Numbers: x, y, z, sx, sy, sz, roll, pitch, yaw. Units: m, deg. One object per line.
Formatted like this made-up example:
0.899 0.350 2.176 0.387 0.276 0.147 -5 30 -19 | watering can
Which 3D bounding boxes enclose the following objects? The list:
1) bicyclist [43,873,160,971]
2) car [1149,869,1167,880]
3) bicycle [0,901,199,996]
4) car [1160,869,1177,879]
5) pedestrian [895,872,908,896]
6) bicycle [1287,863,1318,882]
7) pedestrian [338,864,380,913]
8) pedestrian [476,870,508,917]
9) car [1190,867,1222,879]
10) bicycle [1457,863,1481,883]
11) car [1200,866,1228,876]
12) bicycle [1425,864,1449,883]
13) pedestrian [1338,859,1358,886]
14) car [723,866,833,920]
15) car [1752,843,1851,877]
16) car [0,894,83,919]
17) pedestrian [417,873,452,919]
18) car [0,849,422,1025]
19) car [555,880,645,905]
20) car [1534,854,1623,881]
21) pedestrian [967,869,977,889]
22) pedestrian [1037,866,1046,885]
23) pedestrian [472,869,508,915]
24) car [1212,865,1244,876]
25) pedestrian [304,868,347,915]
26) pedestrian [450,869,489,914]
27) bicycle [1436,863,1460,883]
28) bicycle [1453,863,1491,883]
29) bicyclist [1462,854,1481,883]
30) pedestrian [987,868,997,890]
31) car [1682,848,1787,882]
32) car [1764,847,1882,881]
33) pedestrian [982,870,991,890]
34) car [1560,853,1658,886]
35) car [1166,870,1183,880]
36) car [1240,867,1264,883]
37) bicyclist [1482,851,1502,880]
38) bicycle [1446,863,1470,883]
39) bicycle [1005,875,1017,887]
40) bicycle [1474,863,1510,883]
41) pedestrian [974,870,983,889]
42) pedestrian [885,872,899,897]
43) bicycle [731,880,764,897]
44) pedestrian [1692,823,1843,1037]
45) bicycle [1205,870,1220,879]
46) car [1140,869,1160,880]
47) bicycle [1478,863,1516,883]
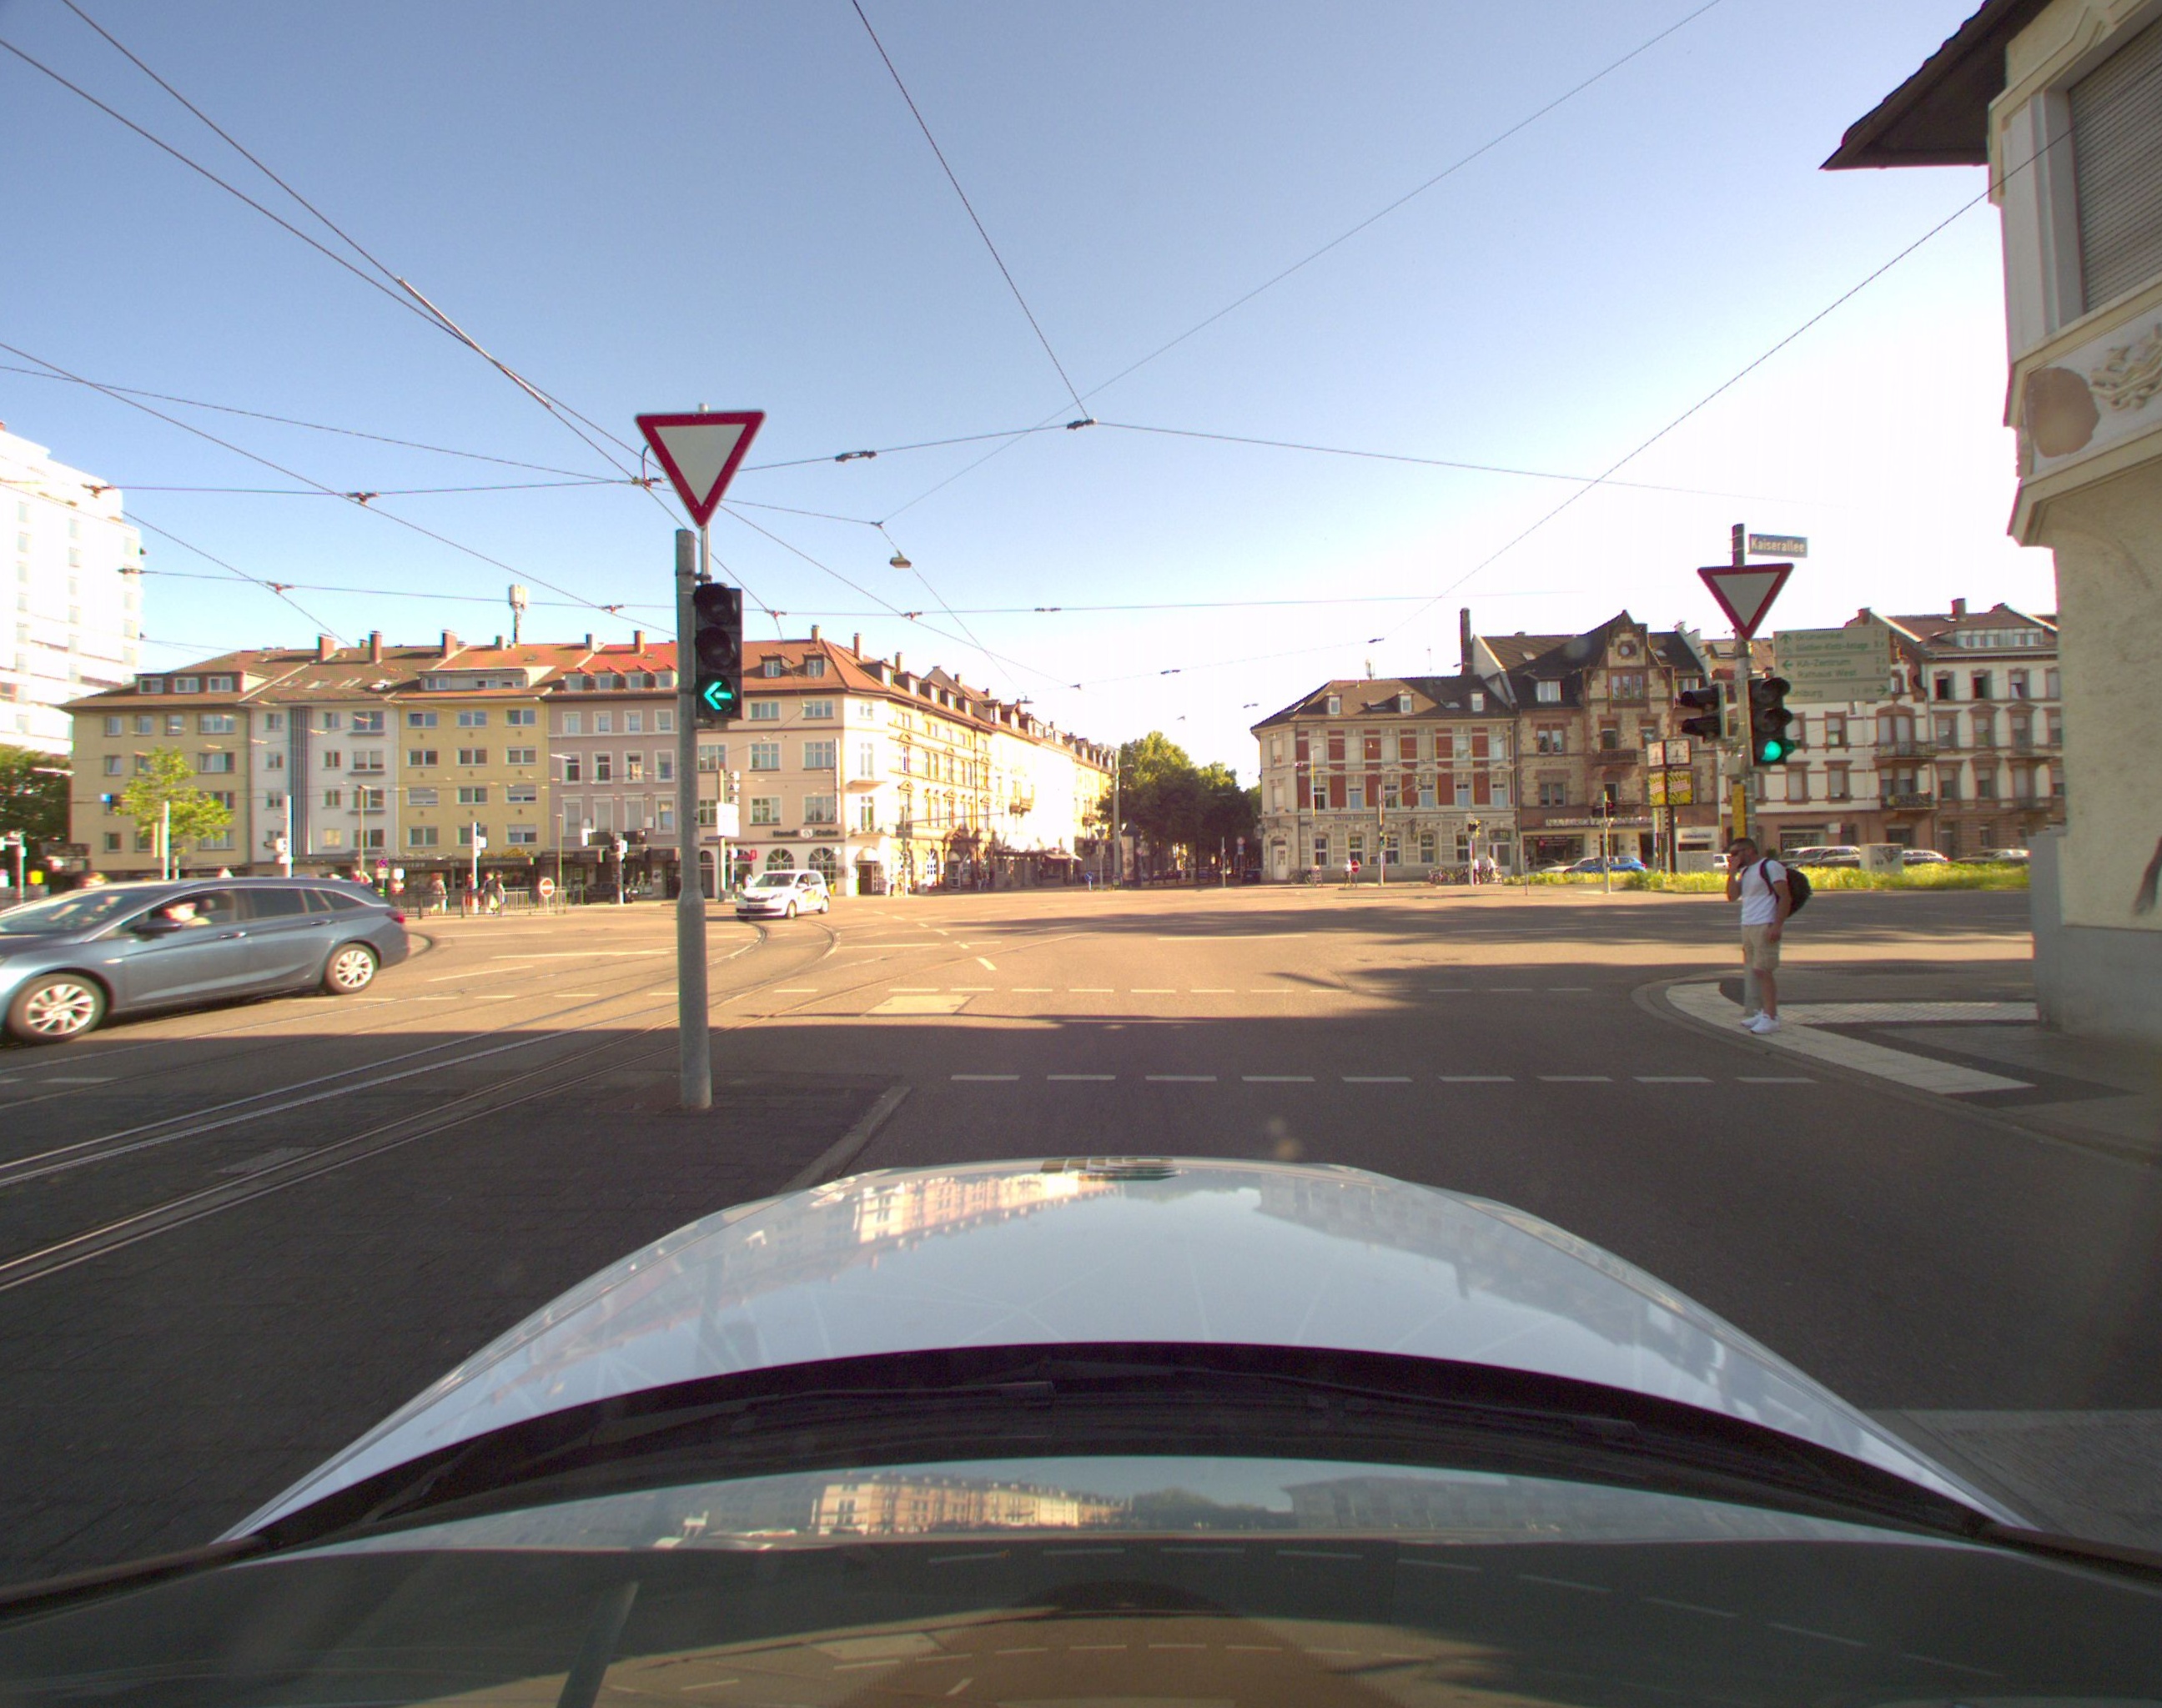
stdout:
-14.184 0.962 11.817 0.600 1.340 0.900 -2 -1 9 | bicyclist
11.462 3.012 121.128 1.978 1.497 4.051 -2 -1 16 | car
-14.179 1.318 11.808 0.482 1.166 1.962 -2 -1 8 | bicycle
14.089 3.149 130.288 1.978 1.497 4.051 -2 -1 16 | car
-12.400 2.041 56.204 0.626 1.642 0.554 -2 -1 15 | pedestrian
15.142 1.260 55.606 1.950 1.191 0.547 -2 -1 6 | bicycle
-25.888 1.224 29.216 0.815 1.724 0.853 -2 -2 24 | pedestrian
-22.176 1.463 30.654 0.801 1.733 0.650 -1 -1 -19 | pedestrian
17.472 2.614 114.056 3.949 1.545 2.012 -2 -1 30 | car
24.477 1.180 51.385 0.674 1.191 1.969 -2 -1 3 | bicycle
21.722 2.715 132.809 3.949 1.545 2.012 -2 -1 30 | car
22.453 1.226 51.413 0.674 1.191 1.969 -2 -1 3 | bicycle
16.382 1.129 49.983 0.719 1.669 0.930 -1 -1 -28 | pedestrian
-9.244 1.160 25.177 1.709 1.497 3.590 -2 -1 6 | car
45.191 0.366 51.160 4.388 1.965 1.955 -2 -1 1 | car
-67.442 3.393 52.412 3.975 1.430 1.941 -1 -2 -1 | car
-25.009 1.608 31.505 0.823 1.733 0.784 -1 -1 -19 | pedestrian
-9.942 0.746 8.734 1.765 1.497 4.579 -2 -1 5 | car
-30.745 2.472 52.151 4.626 1.440 1.743 -1 -2 -1 | car
28.467 0.780 46.676 3.973 1.412 1.846 -2 -1 1 | car
-9.302 2.131 69.547 0.621 1.642 0.540 -2 -1 20 | pedestrian
-4.068 2.223 83.568 0.676 1.908 0.636 -2 -1 18 | pedestrian
-23.126 1.484 31.859 0.784 1.733 0.823 -1 -1 -3 | pedestrian
20.815 2.323 115.008 3.948 1.545 2.013 -2 -1 32 | car
-26.954 1.323 29.060 0.855 1.631 0.812 -2 -2 19 | pedestrian
-24.119 1.466 32.143 0.899 1.733 0.840 -1 -1 -1 | pedestrian
23.155 1.204 51.423 0.674 1.191 1.969 -2 -1 3 | bicycle
23.598 1.137 49.155 1.952 1.191 0.602 -2 -1 4 | bicycle
23.574 0.875 49.162 0.869 1.764 0.602 -2 -1 4 | bicyclist
-7.667 2.158 70.231 0.575 1.836 0.636 -2 -1 18 | pedestrian
34.763 0.568 43.422 3.973 1.668 1.955 -2 -1 1 | car
39.419 0.542 43.362 4.456 1.668 1.955 -2 -1 1 | car
-8.064 2.237 69.495 0.546 1.642 0.636 -2 -1 20 | pedestrian
28.276 0.823 43.682 3.973 1.668 1.955 -2 -1 1 | car
15.497 3.431 134.967 1.978 1.497 4.051 -2 -1 16 | car
16.965 2.073 80.802 1.978 1.497 4.051 -2 -1 16 | car
25.178 0.722 49.920 0.900 1.764 0.602 -2 -1 1 | bicyclist
23.804 1.202 51.408 0.674 1.191 1.969 -2 -1 3 | bicycle
-6.758 2.596 78.494 0.491 1.067 1.778 -2 -1 18 | bicycle
25.701 1.211 50.957 1.961 1.191 0.677 -1 -1 -10 | bicycle
-8.741 2.178 69.349 0.546 1.642 0.540 -2 -1 19 | pedestrian
-12.733 2.061 54.860 0.670 1.642 0.580 -2 -1 15 | pedestrian
-22.854 2.362 55.845 1.940 1.067 0.582 -1 -1 -6 | bicycle
6.061 0.642 7.206 0.691 1.740 0.668 -4 -2 -26 | pedestrian
15.819 2.478 97.669 0.586 1.067 1.928 -1 -1 -34 | bicycle
9.846 2.920 115.928 1.978 1.497 4.051 -2 -1 16 | car
25.483 1.153 49.911 1.954 1.191 0.602 -2 -1 1 | bicycle
